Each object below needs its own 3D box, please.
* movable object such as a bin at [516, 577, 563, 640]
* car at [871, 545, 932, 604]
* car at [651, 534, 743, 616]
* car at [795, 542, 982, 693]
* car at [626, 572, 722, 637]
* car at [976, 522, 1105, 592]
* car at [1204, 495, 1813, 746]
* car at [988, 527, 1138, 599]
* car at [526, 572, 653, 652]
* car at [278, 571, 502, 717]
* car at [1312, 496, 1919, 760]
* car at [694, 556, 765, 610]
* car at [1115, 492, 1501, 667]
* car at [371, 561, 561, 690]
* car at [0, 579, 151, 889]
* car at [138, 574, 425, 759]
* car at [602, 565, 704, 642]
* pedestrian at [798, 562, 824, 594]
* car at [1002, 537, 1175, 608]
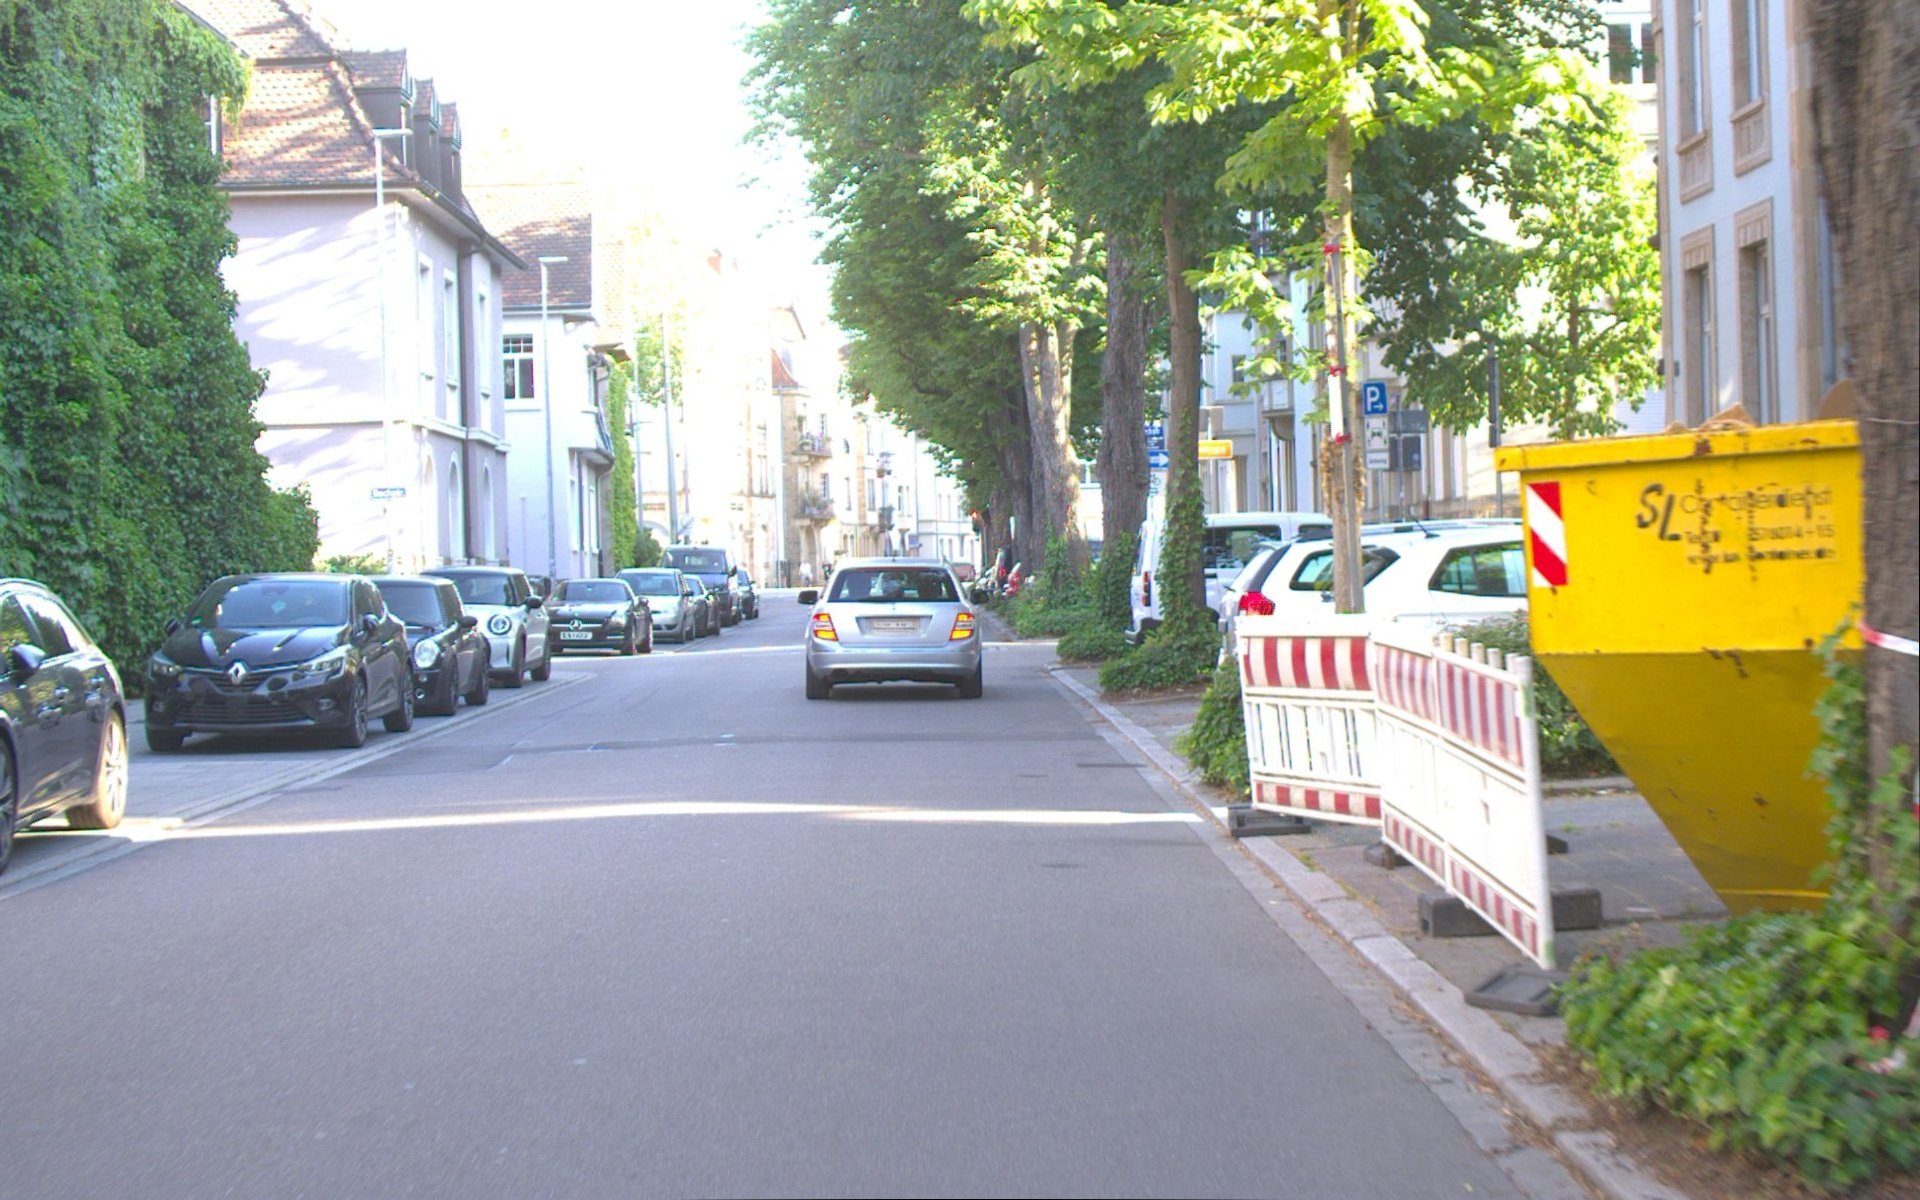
[{"bbox_3d":[-8.967,0.176,73.405,0.721,1.279,2.096,-2,1,0],"label":"movable object such as a bin"},{"bbox_3d":[-1.638,-0.733,97.139,1.623,1.564,3.680,-2,1,0],"label":"car"},{"bbox_3d":[-6.446,-0.629,84.731,1.982,1.941,4.852,-1,1,-1],"label":"car"},{"bbox_3d":[-0.689,0.164,35.087,1.784,1.432,3.851,-1,0,0],"label":"car"},{"bbox_3d":[-6.063,0.086,73.287,1.531,1.314,4.226,-1,0,2],"label":"car"},{"bbox_3d":[2.847,-1.546,122.627,4.388,2.356,2.000,-2,1,-3],"label":"car"},{"bbox_3d":[3.941,0.131,25.199,4.144,1.529,1.687,-3,1,2],"label":"car"},{"bbox_3d":[3.054,-1.112,102.527,4.219,1.890,1.906,-3,1,-2],"label":"car"},{"bbox_3d":[-6.371,0.182,59.486,1.653,1.319,4.045,-1,0,2],"label":"car"},{"bbox_3d":[-5.772,0.409,35.209,1.686,1.375,3.721,-1,1,0],"label":"car"},{"bbox_3d":[4.321,0.165,22.706,3.852,1.457,1.686,-3,1,4],"label":"car"},{"bbox_3d":[-6.398,-0.498,95.670,1.695,1.442,4.358,-1,1,0],"label":"car"},{"bbox_3d":[4.128,-0.255,41.336,4.314,1.801,2.000,-3,1,-1],"label":"car"},{"bbox_3d":[-5.970,0.276,41.933,1.704,1.455,3.917,-1,1,1],"label":"car"},{"bbox_3d":[-5.628,0.650,18.194,1.792,1.456,4.778,-1,1,-3],"label":"car"},{"bbox_3d":[-5.693,0.512,29.277,1.649,1.416,4.099,-1,1,0],"label":"car"},{"bbox_3d":[-6.075,0.040,68.279,1.653,1.440,3.960,-1,1,0],"label":"car"},{"bbox_3d":[-8.056,-1.191,185.869,1.221,1.716,1.503,-1,1,3],"label":"pedestrian"},{"bbox_3d":[3.198,-0.689,85.934,4.190,1.470,1.851,-4,0,2],"label":"car"}]
